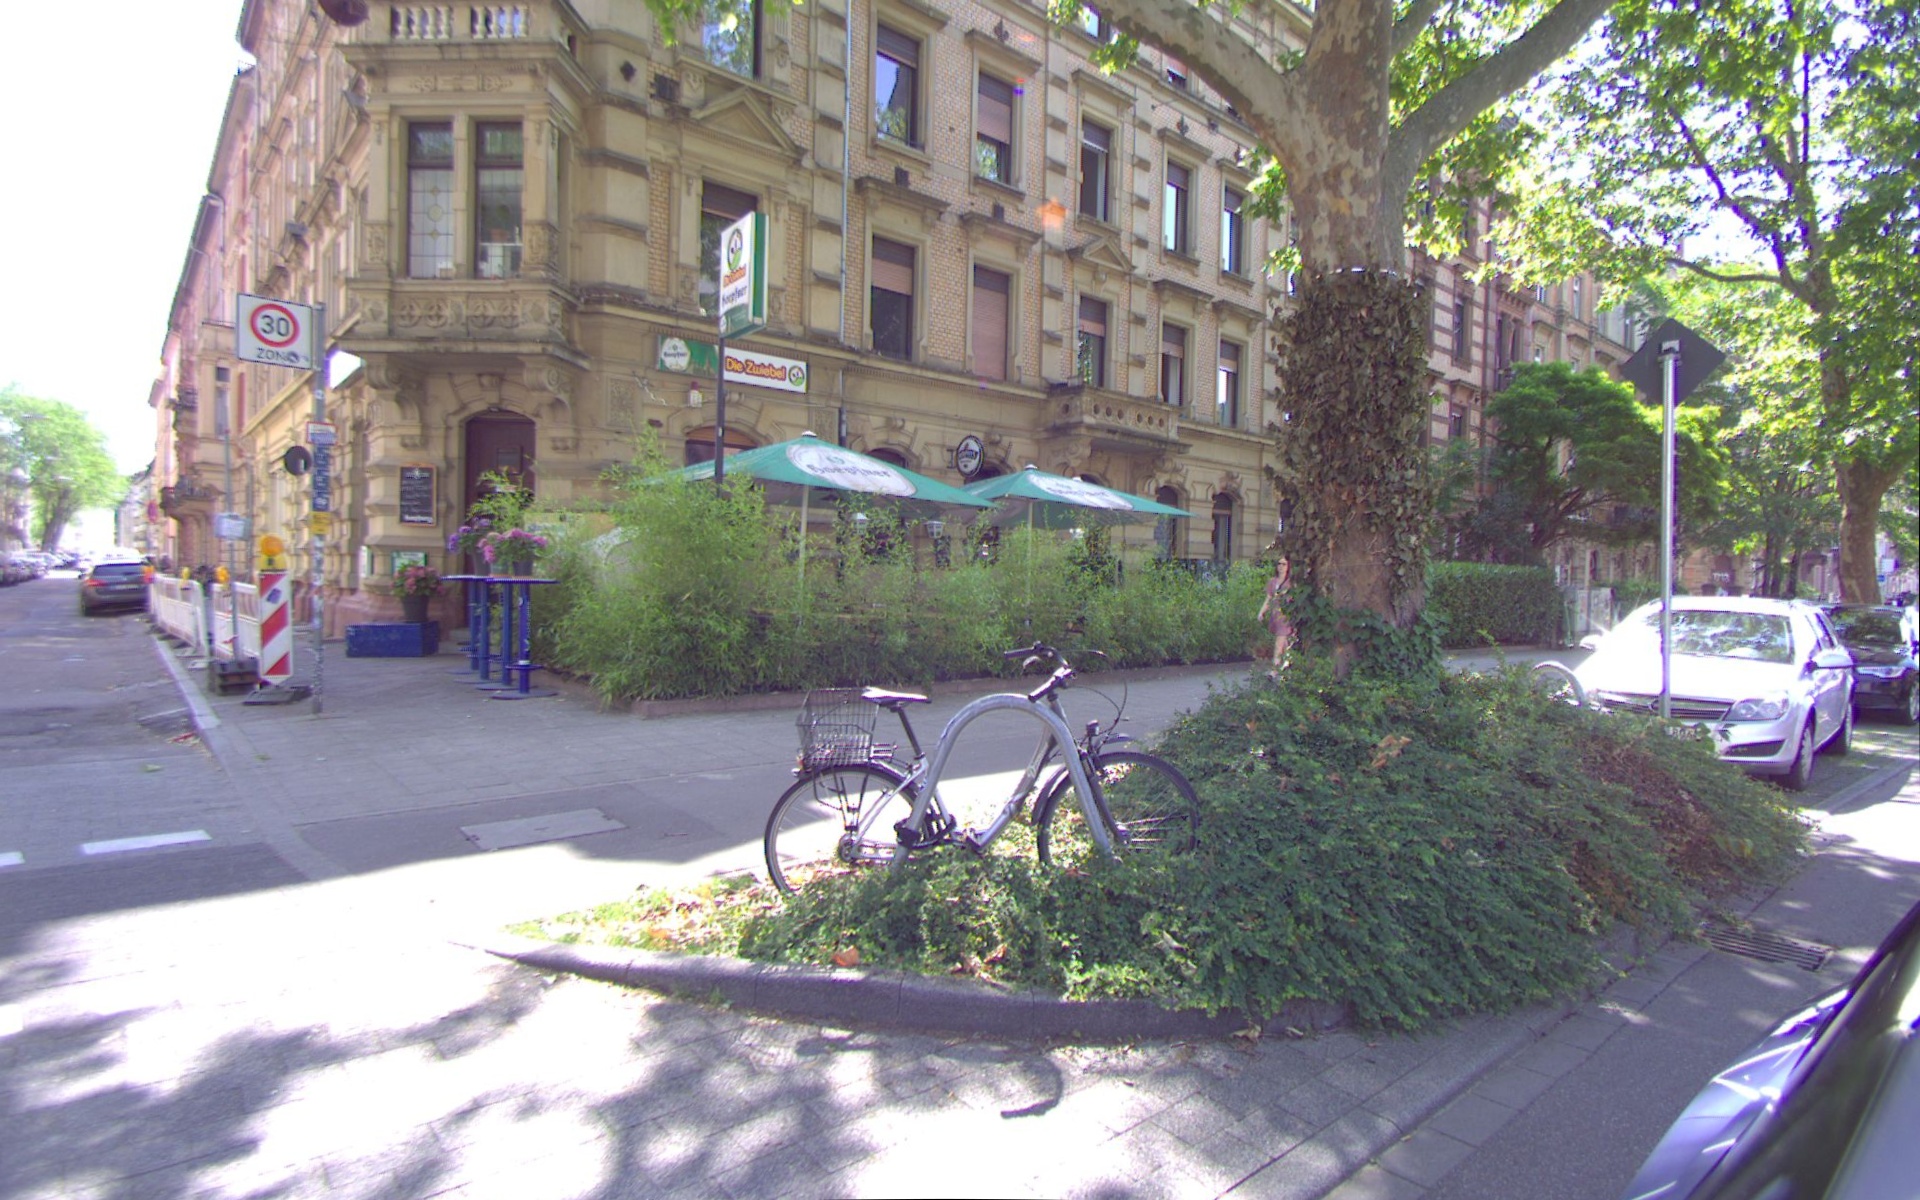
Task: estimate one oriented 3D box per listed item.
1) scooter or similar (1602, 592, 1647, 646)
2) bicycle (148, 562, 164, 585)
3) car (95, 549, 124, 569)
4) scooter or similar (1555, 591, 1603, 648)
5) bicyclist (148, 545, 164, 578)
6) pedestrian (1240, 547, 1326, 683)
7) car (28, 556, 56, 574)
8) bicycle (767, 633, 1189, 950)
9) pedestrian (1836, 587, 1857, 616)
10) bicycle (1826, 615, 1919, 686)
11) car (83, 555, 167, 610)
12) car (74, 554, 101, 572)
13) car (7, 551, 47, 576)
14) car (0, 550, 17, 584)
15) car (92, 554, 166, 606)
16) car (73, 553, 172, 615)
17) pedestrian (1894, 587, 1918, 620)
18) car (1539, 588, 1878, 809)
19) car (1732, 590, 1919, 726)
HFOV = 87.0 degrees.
[{"bbox_3d":[16.432,0.456,25.027,1.124,1.298,0.583,0,1,-39],"label":"scooter or similar"},{"bbox_3d":[-35.717,-1.180,44.948,0.529,0.991,1.308,0,1,-40],"label":"bicycle"},{"bbox_3d":[-77.229,-3.749,91.900,1.965,1.760,3.995,0,2,-41],"label":"car"},{"bbox_3d":[14.311,0.436,23.393,1.124,1.263,0.583,0,1,-40],"label":"scooter or similar"},{"bbox_3d":[-35.735,-1.700,44.976,0.523,1.471,0.460,0,1,-40],"label":"bicyclist"},{"bbox_3d":[4.504,0.190,14.122,0.837,1.807,0.738,0,3,-41],"label":"pedestrian"},{"bbox_3d":[-78.946,-3.018,87.030,1.641,1.419,3.357,0,2,-40],"label":"car"},{"bbox_3d":[0.057,0.712,3.993,1.583,1.119,0.423,1,1,-10],"label":"bicycle"},{"bbox_3d":[53.358,0.091,60.938,0.951,1.740,0.796,0,1,-41],"label":"pedestrian"},{"bbox_3d":[15.343,0.825,16.617,1.615,1.102,0.469,2,1,17],"label":"bicycle"},{"bbox_3d":[-26.843,-0.600,32.504,1.965,1.660,3.995,0,2,-41],"label":"car"},{"bbox_3d":[-86.308,-3.678,100.146,1.965,1.760,3.995,0,2,-41],"label":"car"},{"bbox_3d":[-66.141,-2.588,71.781,1.880,1.731,4.157,0,2,-40],"label":"car"},{"bbox_3d":[-50.141,-1.722,52.204,1.879,1.731,4.159,0,2,-39],"label":"car"},{"bbox_3d":[-29.847,-0.751,36.327,1.965,1.760,3.995,0,2,-41],"label":"car"},{"bbox_3d":[-22.921,-0.468,27.678,1.965,1.571,3.995,0,2,-41],"label":"car"},{"bbox_3d":[50.527,0.163,54.058,0.951,1.740,0.796,0,1,-41],"label":"pedestrian"},{"bbox_3d":[7.132,0.691,9.444,4.418,1.526,1.835,0,2,-44],"label":"car"},{"bbox_3d":[12.359,0.670,13.893,4.561,1.526,1.837,0,2,-40],"label":"car"}]
